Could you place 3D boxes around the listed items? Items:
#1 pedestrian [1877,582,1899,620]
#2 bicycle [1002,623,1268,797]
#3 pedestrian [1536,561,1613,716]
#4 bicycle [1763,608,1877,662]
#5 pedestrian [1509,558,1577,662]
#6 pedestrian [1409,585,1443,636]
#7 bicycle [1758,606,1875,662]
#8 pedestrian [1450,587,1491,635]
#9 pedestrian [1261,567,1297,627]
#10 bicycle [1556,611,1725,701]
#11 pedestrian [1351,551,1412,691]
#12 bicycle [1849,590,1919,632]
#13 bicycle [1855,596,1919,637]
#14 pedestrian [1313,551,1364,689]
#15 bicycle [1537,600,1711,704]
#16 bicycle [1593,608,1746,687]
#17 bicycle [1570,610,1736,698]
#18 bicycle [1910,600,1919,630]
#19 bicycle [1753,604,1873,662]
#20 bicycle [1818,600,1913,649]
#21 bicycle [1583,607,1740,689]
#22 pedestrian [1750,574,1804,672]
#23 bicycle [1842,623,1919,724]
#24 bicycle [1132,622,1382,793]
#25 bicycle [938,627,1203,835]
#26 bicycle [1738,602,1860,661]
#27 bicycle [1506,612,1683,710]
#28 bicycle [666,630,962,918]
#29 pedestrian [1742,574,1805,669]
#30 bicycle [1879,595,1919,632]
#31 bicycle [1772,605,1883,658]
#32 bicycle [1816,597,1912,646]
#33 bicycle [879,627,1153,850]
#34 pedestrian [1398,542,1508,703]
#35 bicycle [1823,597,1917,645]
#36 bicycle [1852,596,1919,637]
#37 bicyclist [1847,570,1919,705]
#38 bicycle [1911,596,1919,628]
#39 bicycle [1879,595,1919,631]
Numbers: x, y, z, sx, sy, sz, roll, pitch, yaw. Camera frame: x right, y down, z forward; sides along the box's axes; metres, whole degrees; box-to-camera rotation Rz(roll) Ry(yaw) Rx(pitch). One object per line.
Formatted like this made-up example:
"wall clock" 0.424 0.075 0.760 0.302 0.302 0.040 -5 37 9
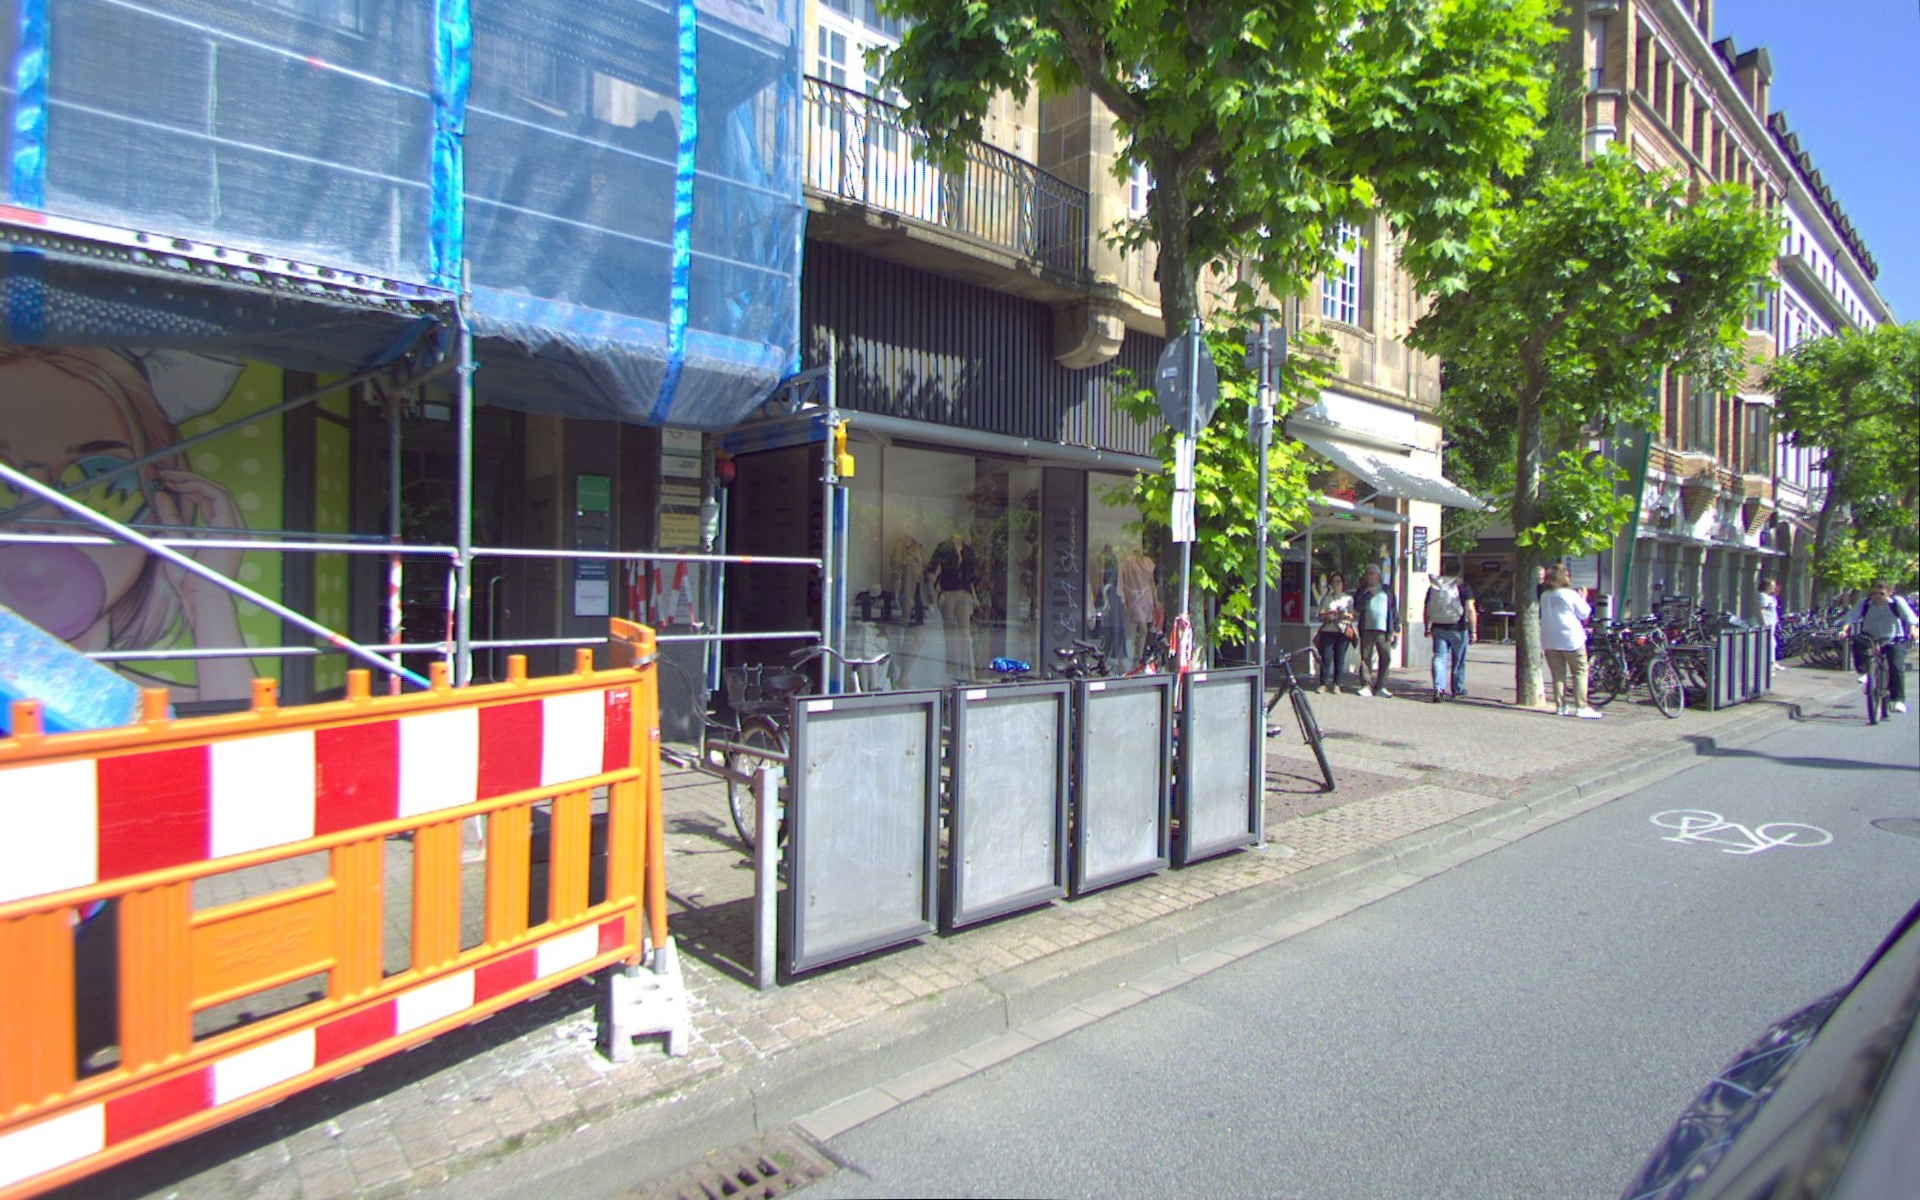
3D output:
"pedestrian" 43.154 0.039 47.052 0.664 1.718 0.658 0 -1 -39
"bicycle" 1.193 0.712 6.976 1.738 1.031 0.479 1 1 23
"pedestrian" 7.017 0.410 11.553 0.655 1.703 0.644 2 2 38
"bicycle" 17.699 0.705 20.857 0.474 0.997 1.719 0 1 -42
"pedestrian" 10.403 0.163 18.063 0.966 1.803 0.670 0 2 -37
"pedestrian" 11.754 0.254 25.509 0.636 1.271 0.783 0 0 37
"bicycle" 17.302 0.658 20.483 0.474 1.031 1.755 0 1 -42
"pedestrian" 13.797 0.290 27.348 0.628 1.271 0.793 0 0 -37
"pedestrian" 5.673 -0.053 18.003 0.398 1.036 0.455 0 -1 -40
"bicycle" 8.904 0.698 13.298 0.547 1.031 1.755 0 1 -42
"pedestrian" 5.263 0.245 12.652 0.528 1.703 0.498 2 3 11
"bicycle" 26.999 0.309 29.362 0.474 1.161 1.755 0 1 -42
"bicycle" 27.769 0.495 30.027 0.491 1.161 1.755 0 1 -42
"pedestrian" 4.768 0.239 12.768 0.469 1.703 0.381 2 2 10
"bicycle" 8.445 0.624 12.932 0.569 1.196 1.755 0 1 -42
"bicycle" 10.296 0.659 14.741 0.475 1.031 1.754 0 1 -44
"bicycle" 9.420 0.703 13.812 0.577 1.030 1.755 0 2 -42
"bicycle" 35.715 0.571 36.745 0.474 1.082 1.755 0 1 -42
"bicycle" 16.794 0.628 19.965 0.474 1.031 1.755 0 1 -42
"bicycle" 23.166 0.619 25.910 0.474 1.161 1.755 0 1 -42
"bicycle" 9.859 0.643 14.281 0.474 1.031 1.755 0 1 -42
"pedestrian" 14.355 0.381 17.798 0.598 1.645 0.635 5 3 37
"bicycle" 11.414 0.852 12.376 1.865 1.107 0.735 0 0 -43
"bicycle" 2.109 0.718 7.390 0.474 1.031 1.755 0 1 -42
"bicycle" 0.622 0.729 6.280 0.474 1.031 1.755 0 1 -42
"bicycle" 16.215 0.589 19.586 0.474 1.031 1.755 0 1 -42
"bicycle" 7.653 0.695 12.302 0.644 1.031 1.762 1 1 -22
"bicycle" -0.760 0.706 4.767 0.474 1.031 1.755 0 1 -42
"pedestrian" 14.756 0.371 18.358 0.689 1.646 0.697 0 2 -39
"bicycle" 31.106 0.433 32.928 0.474 1.161 1.755 0 1 -42
"bicycle" 18.590 0.648 21.720 0.474 1.031 1.755 0 1 -42
"bicycle" 22.795 0.522 25.544 0.474 1.161 1.755 0 1 -42
"bicycle" 0.259 0.720 5.900 0.474 1.031 1.755 0 1 -42
"pedestrian" 6.050 0.246 12.432 0.874 1.871 0.818 0 3 -33
"bicycle" 23.575 0.513 26.249 0.474 1.161 1.755 0 1 -42
"bicycle" 27.371 0.473 29.675 0.474 1.161 1.755 0 1 -42
"bicyclist" 11.434 0.443 12.401 0.765 1.597 0.749 0 -1 -42
"bicycle" 36.117 0.468 37.100 0.474 1.161 1.755 0 1 -42
"bicycle" 31.545 0.439 33.389 0.518 1.161 1.755 0 1 -42
